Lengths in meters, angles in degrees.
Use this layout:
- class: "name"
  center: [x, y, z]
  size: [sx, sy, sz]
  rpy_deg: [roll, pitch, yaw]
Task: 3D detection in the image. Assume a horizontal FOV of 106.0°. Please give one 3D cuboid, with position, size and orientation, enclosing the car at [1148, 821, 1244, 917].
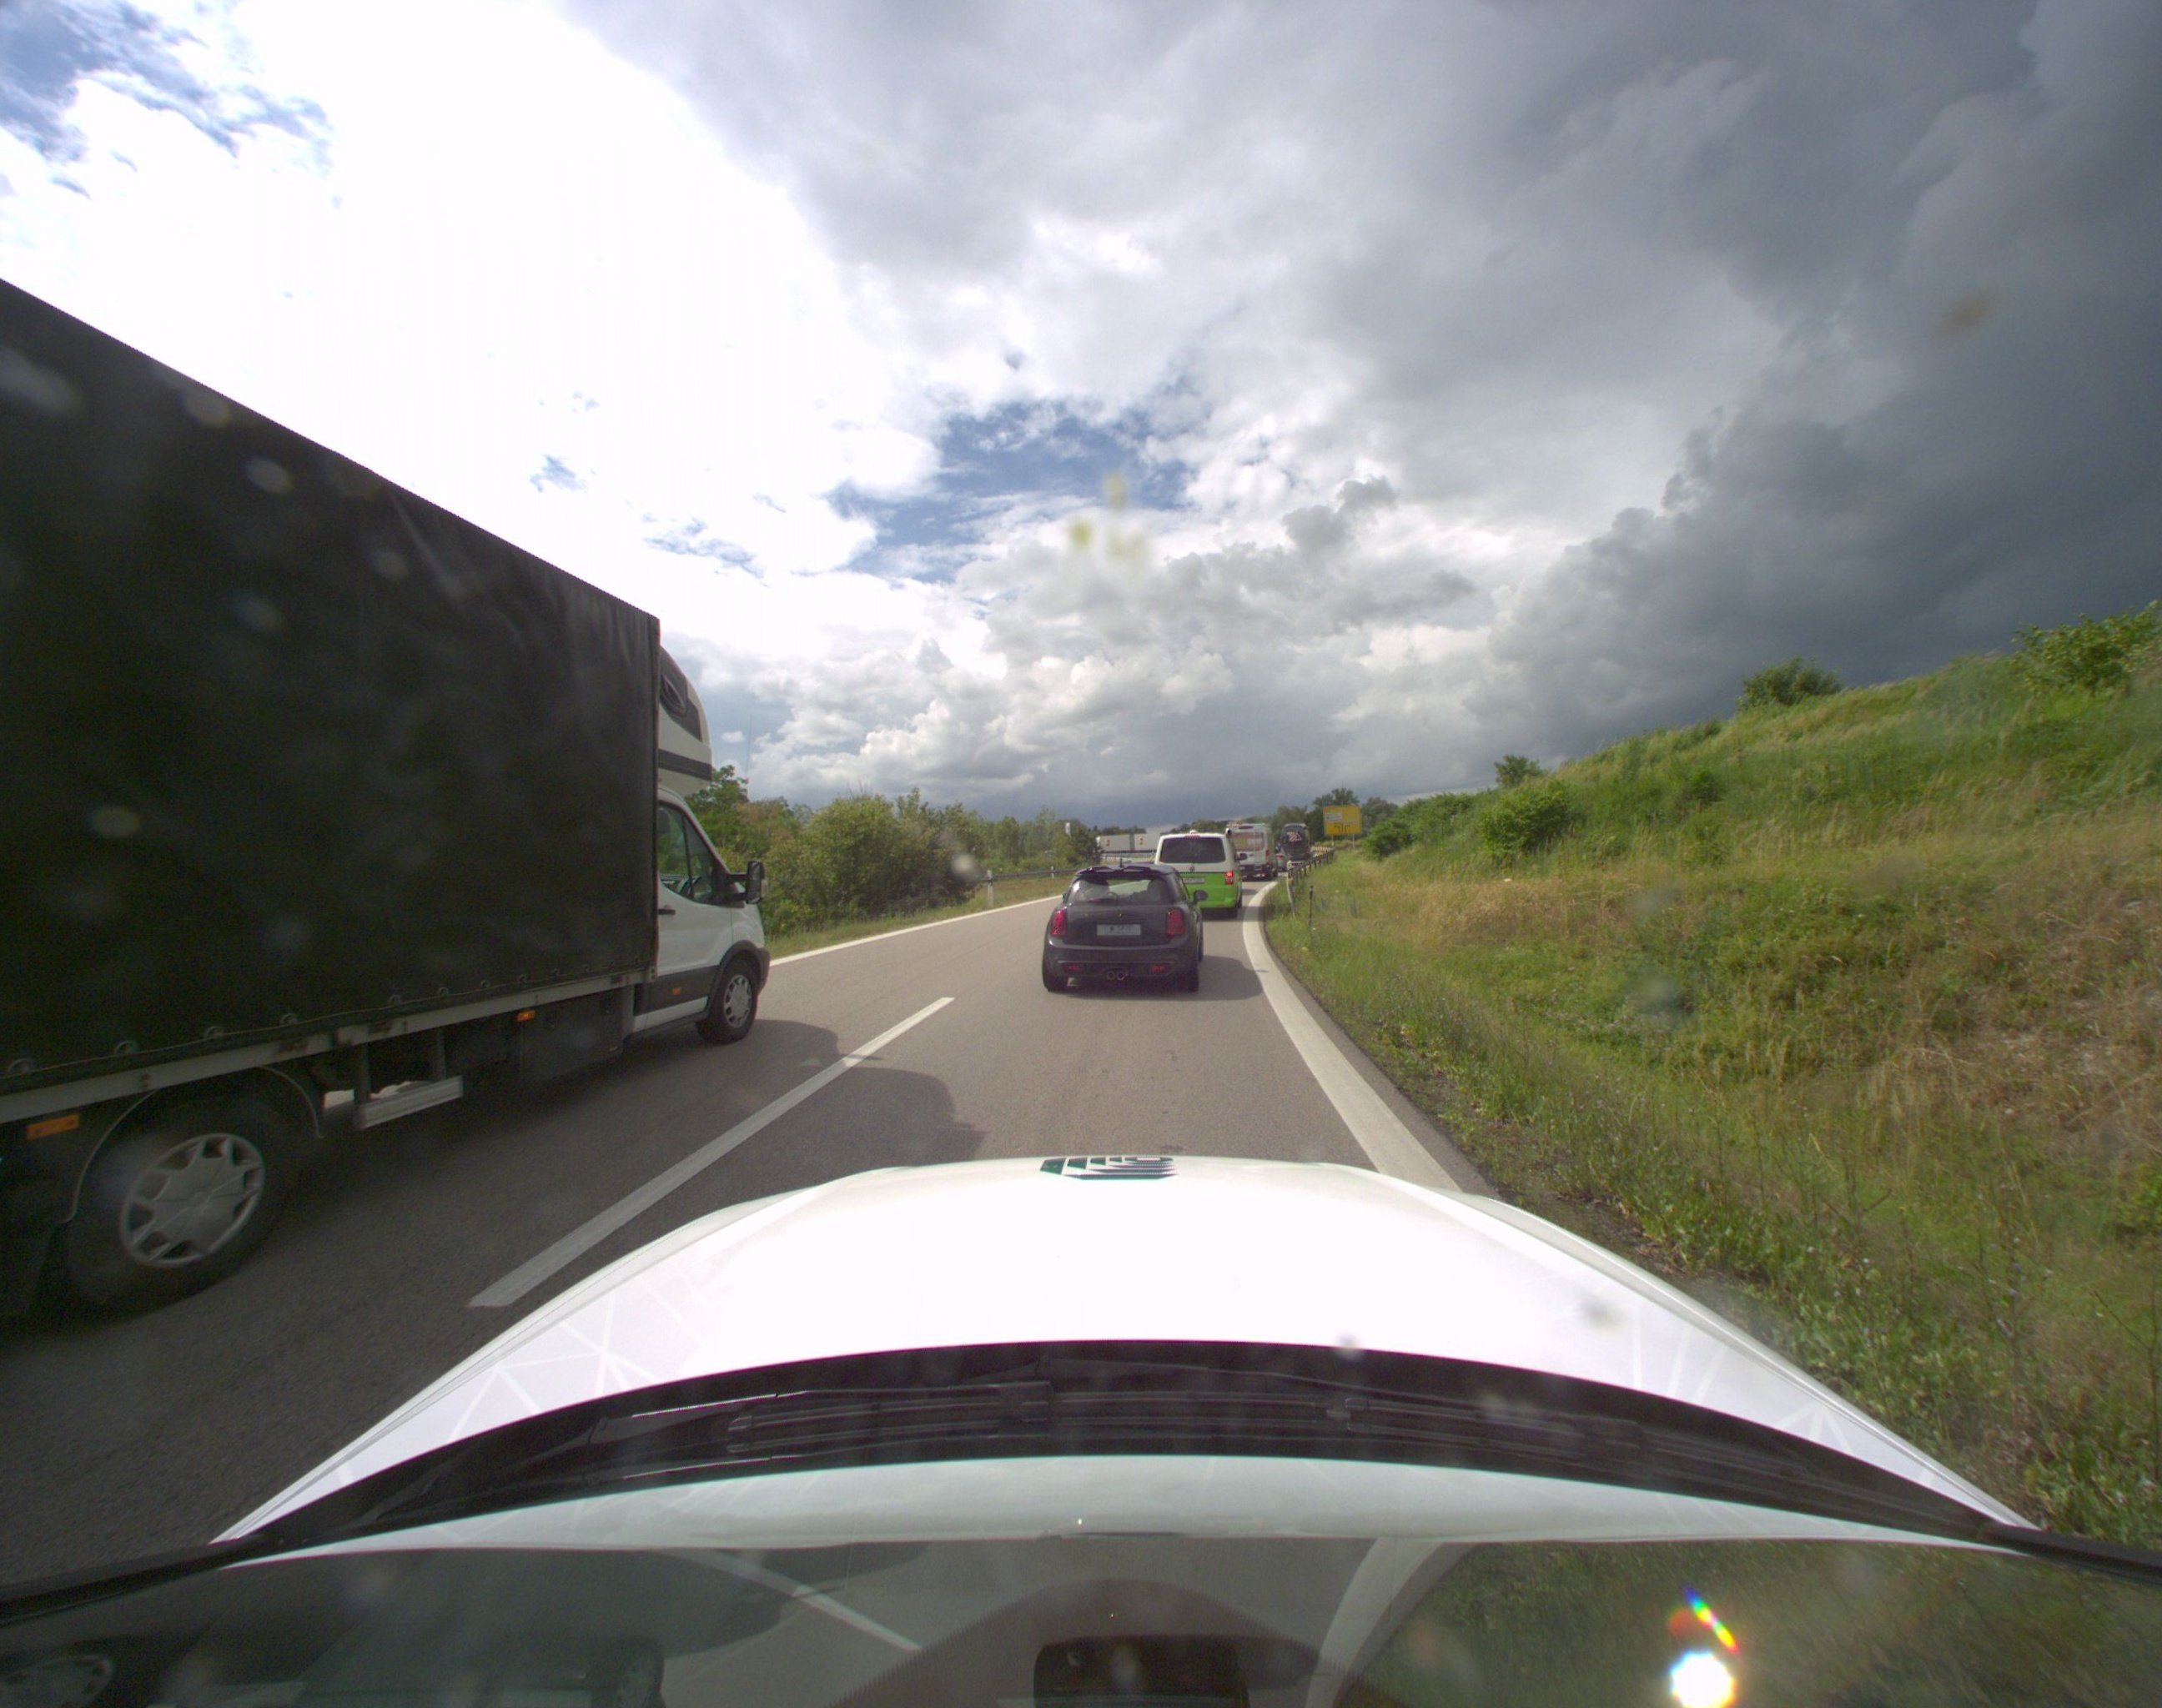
- class: "car"
  center: [2.880, 0.334, 19.632]
  size: [1.898, 2.045, 4.196]
  rpy_deg: [-1, 0, 13]

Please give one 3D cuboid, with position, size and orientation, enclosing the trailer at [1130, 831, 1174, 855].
- class: "trailer"
  center: [12.272, -1.843, 141.733]
  size: [3.057, 3.898, 8.682]
  rpy_deg: [0, -1, -33]

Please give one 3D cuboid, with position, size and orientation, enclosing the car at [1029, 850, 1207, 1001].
- class: "car"
  center: [0.656, 0.736, 10.309]
  size: [1.789, 1.546, 3.748]
  rpy_deg: [-1, 0, 9]

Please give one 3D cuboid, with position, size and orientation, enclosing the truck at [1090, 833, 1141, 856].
- class: "truck"
  center: [6.178, -1.748, 148.860]
  size: [9.904, 3.976, 2.862]
  rpy_deg: [-1, -1, 44]

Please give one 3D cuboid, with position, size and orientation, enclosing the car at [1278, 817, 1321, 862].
- class: "car"
  center: [15.762, -0.958, 58.573]
  size: [2.291, 3.069, 6.696]
  rpy_deg: [-1, -1, 21]

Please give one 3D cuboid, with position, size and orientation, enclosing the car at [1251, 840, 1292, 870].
- class: "car"
  center: [10.991, 0.070, 46.791]
  size: [1.978, 1.642, 3.946]
  rpy_deg: [-1, -1, 17]

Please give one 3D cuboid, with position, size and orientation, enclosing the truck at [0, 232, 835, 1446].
- class: "truck"
  center: [-3.953, -0.018, 4.429]
  size: [2.549, 3.168, 7.475]
  rpy_deg: [0, -1, 3]

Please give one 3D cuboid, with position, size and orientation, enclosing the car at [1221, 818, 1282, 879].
- class: "car"
  center: [8.031, -0.199, 37.955]
  size: [2.194, 2.622, 5.559]
  rpy_deg: [-1, -1, 18]
